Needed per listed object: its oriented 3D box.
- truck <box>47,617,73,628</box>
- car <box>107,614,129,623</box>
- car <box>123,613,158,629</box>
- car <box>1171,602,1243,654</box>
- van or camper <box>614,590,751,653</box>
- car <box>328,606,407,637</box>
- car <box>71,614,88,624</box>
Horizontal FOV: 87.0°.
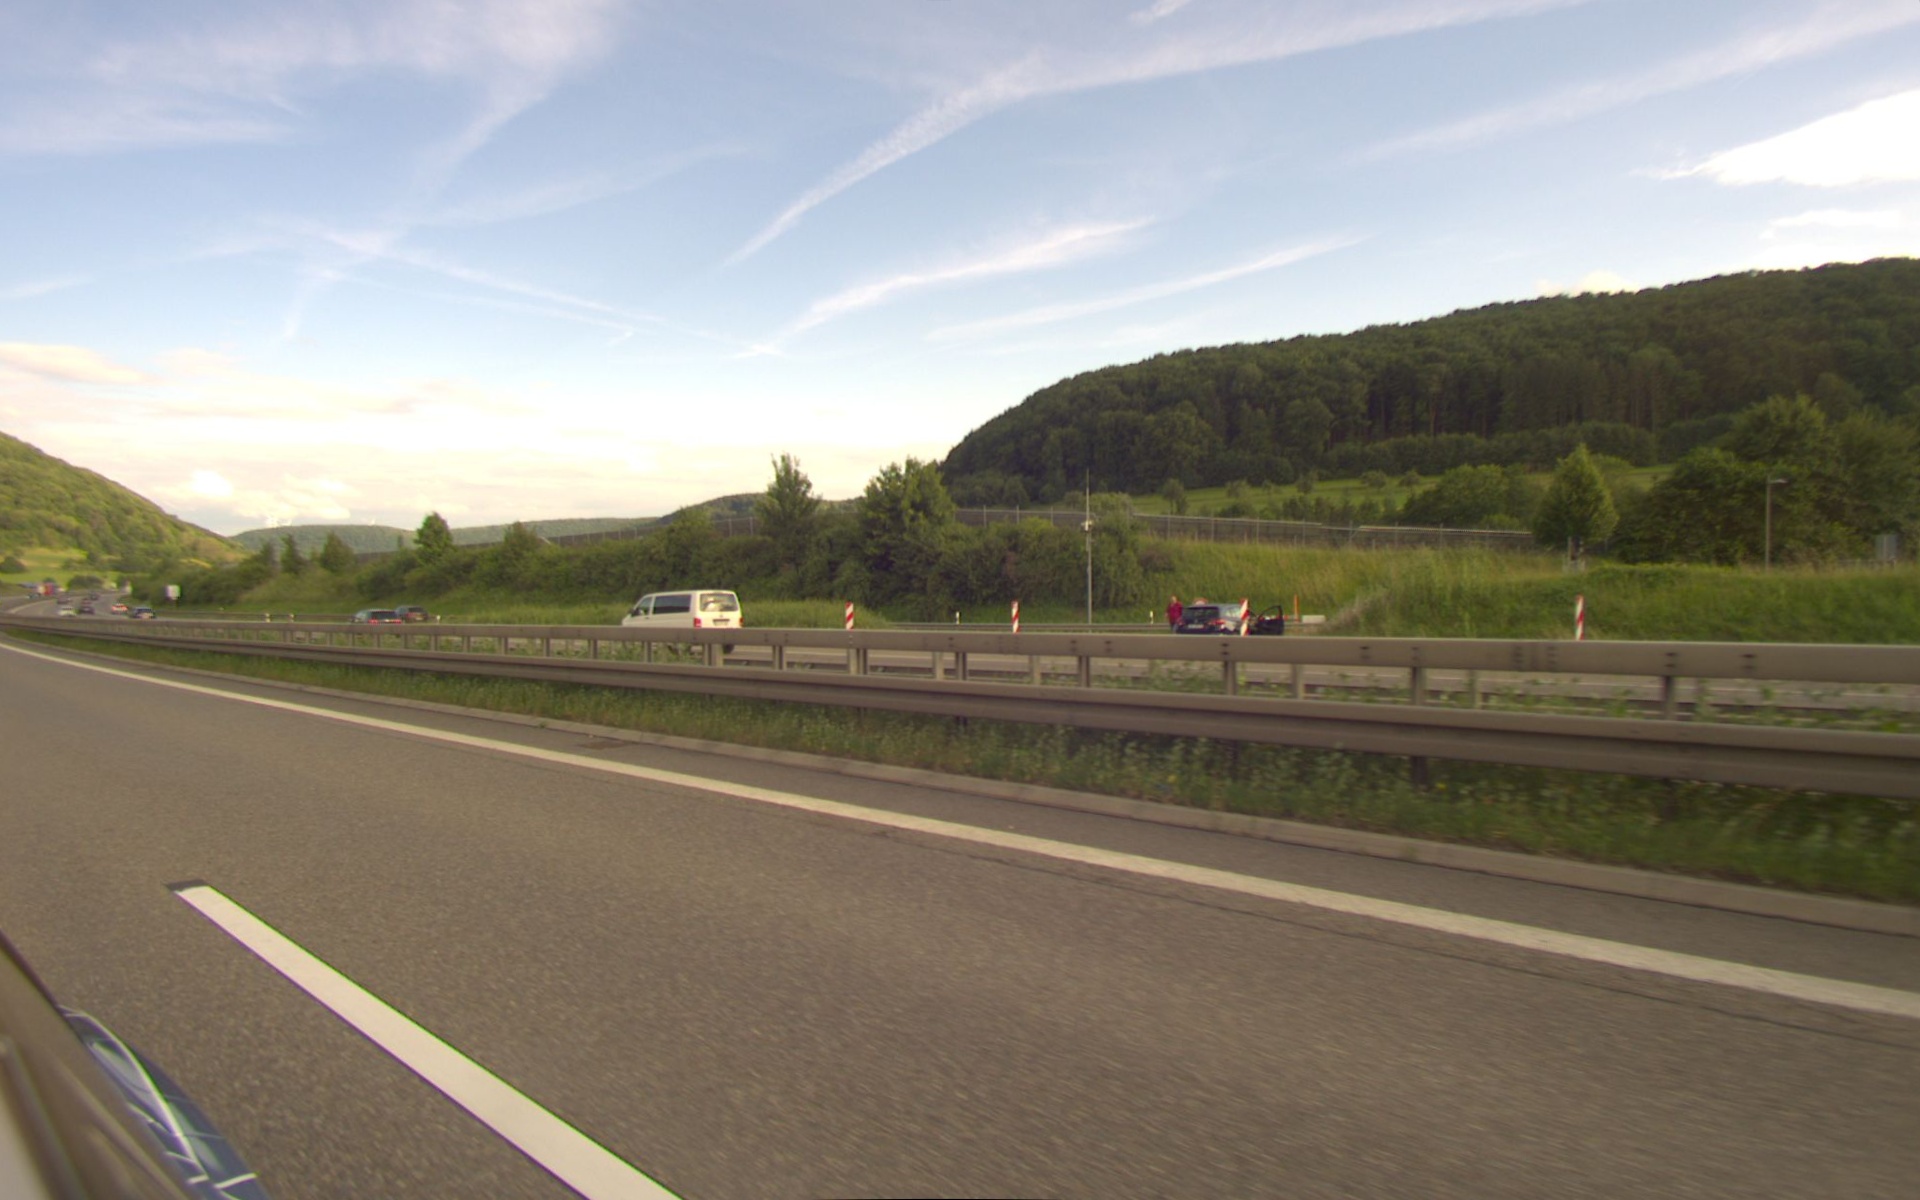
[{"bbox_3d":[-113.826,2.818,128.005,4.644,1.375,1.972,-1,-1,42],"label":"truck"},{"bbox_3d":[-131.174,2.910,157.650,4.376,1.368,1.742,-1,-1,38],"label":"car"},{"bbox_3d":[-82.255,2.085,101.572,4.691,1.508,1.972,0,-2,42],"label":"car"},{"bbox_3d":[7.913,0.866,32.768,1.978,1.563,4.604,0,-1,10],"label":"car"},{"bbox_3d":[-8.893,0.673,32.224,4.752,1.888,1.895,-1,-1,41],"label":"van or camper"},{"bbox_3d":[-30.488,1.105,52.003,4.686,1.508,1.974,-1,-1,38],"label":"car"},{"bbox_3d":[-134.158,2.862,154.192,1.969,1.497,4.005,0,-1,-42],"label":"car"}]
